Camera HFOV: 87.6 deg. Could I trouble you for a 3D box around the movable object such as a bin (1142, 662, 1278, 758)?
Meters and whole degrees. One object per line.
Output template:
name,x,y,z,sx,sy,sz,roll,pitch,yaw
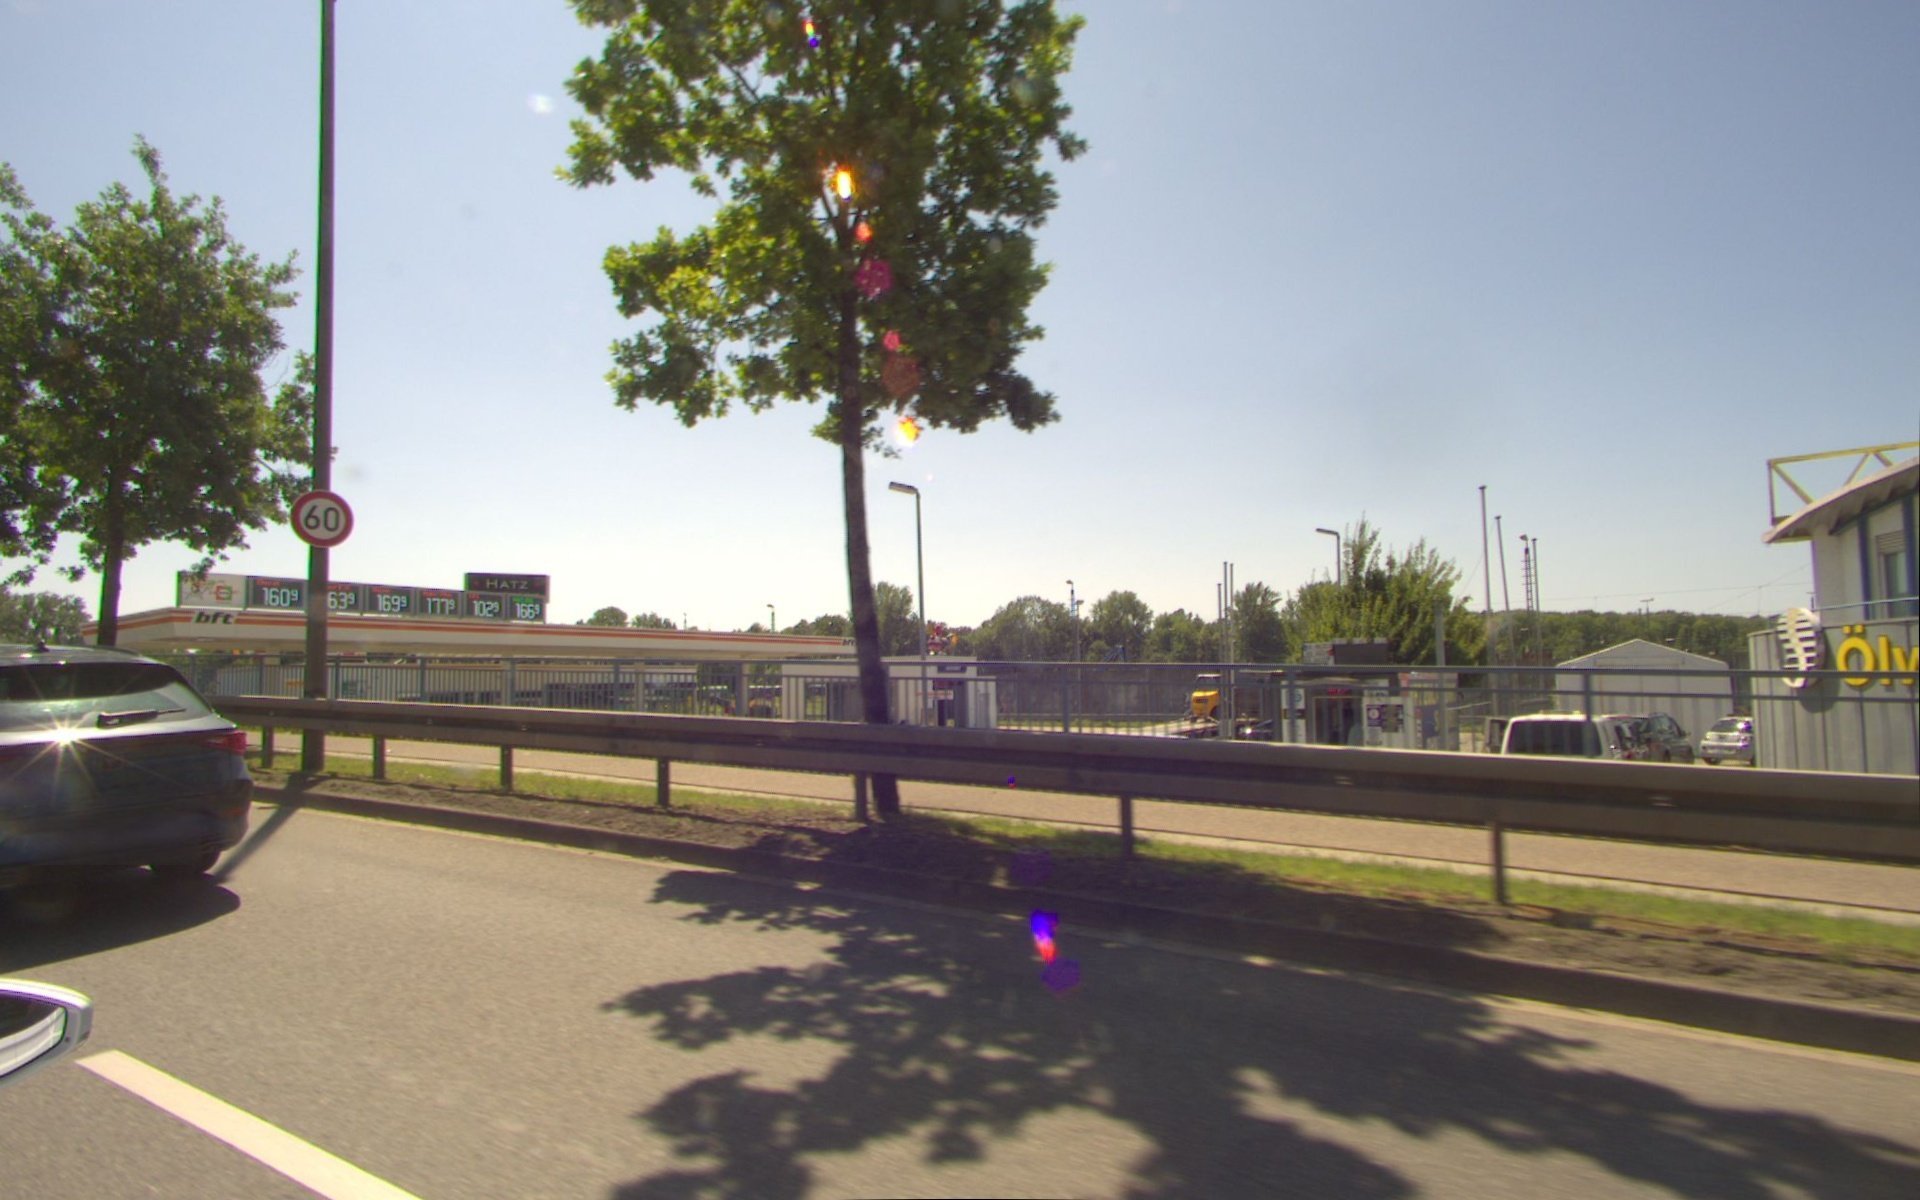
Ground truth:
movable object such as a bin,11.765,4.823,46.105,2.993,3.752,11.033,-3,-4,30

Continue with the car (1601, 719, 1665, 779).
car,18.470,4.035,27.455,1.209,1.366,2.695,-4,-4,38

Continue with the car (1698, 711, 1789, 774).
car,23.745,4.246,30.303,1.673,1.571,3.964,-4,-5,44

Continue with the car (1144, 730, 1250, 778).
car,6.285,4.053,26.599,2.525,1.091,1.104,-3,-4,33

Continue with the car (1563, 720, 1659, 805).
car,15.247,3.702,23.371,1.454,1.493,4.119,-2,-3,38

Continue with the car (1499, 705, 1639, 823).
car,11.315,2.887,18.459,1.577,1.680,4.578,-4,-4,38

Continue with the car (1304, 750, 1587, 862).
car,6.771,2.886,14.209,3.253,1.324,1.466,-1,-3,2

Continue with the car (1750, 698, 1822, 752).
car,28.474,4.239,34.512,1.772,1.571,3.970,-4,-4,40

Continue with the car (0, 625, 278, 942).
car,-6.120,0.972,6.031,4.171,1.473,1.604,-3,-4,29
